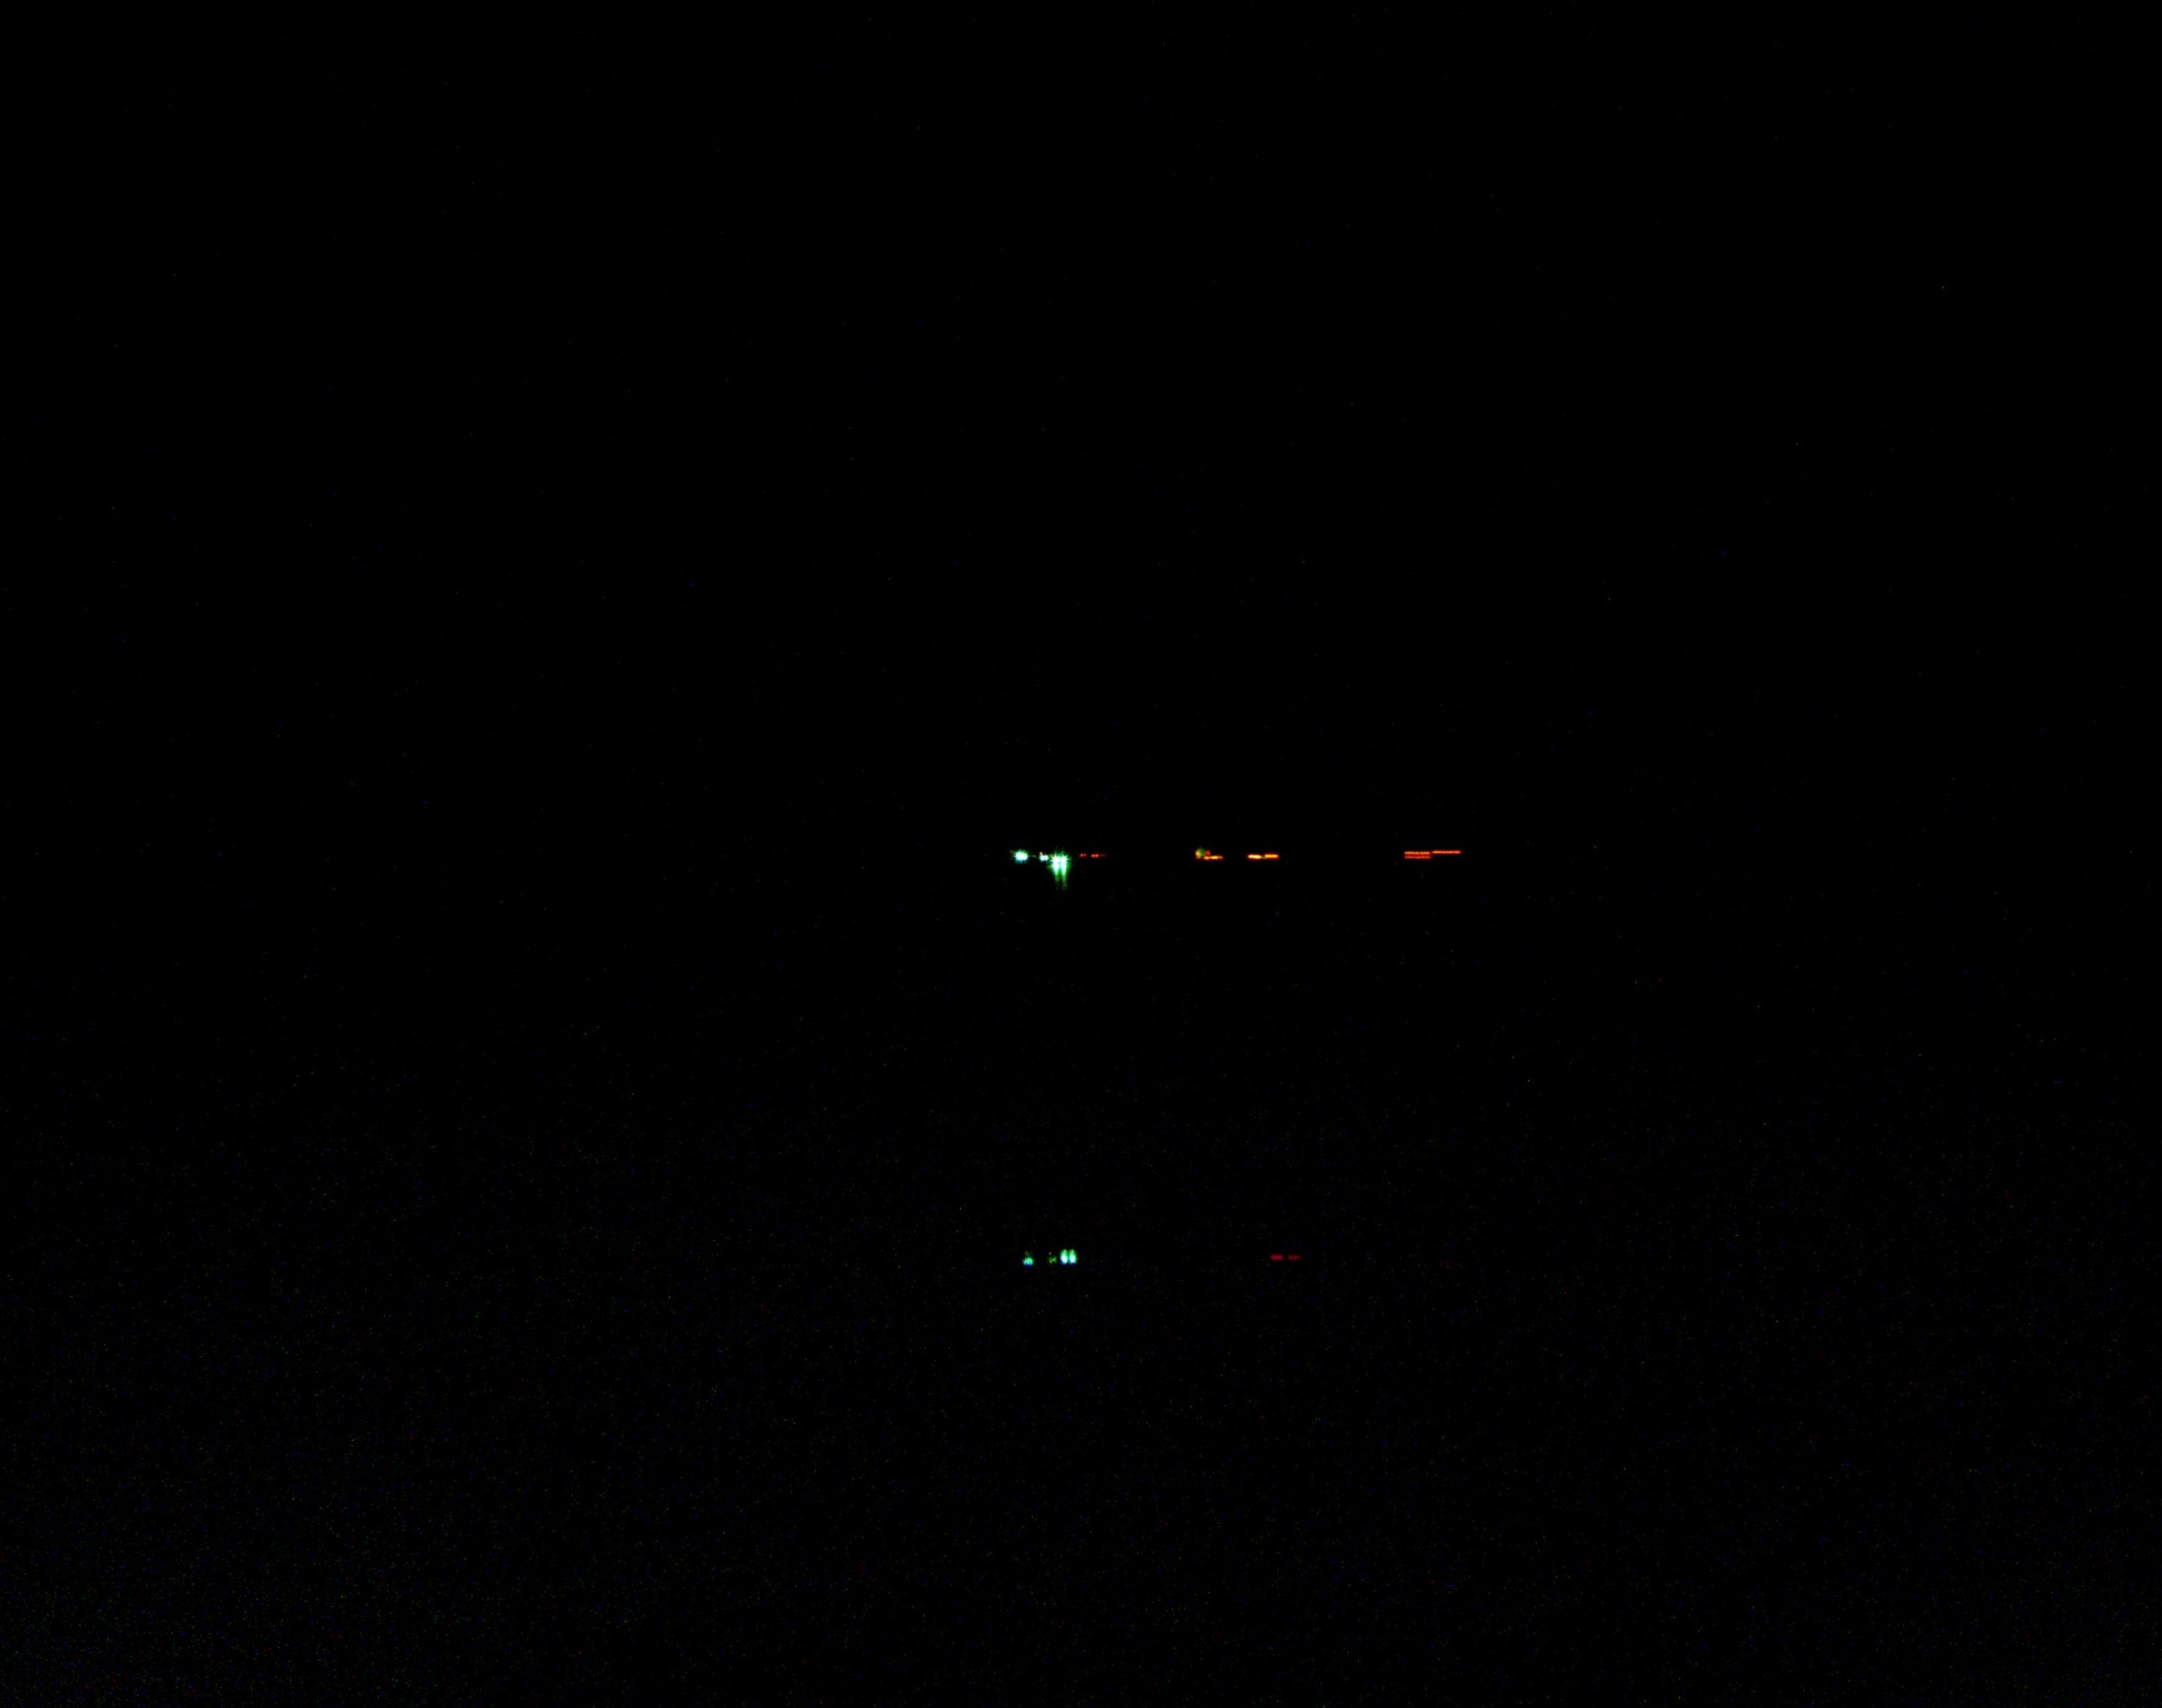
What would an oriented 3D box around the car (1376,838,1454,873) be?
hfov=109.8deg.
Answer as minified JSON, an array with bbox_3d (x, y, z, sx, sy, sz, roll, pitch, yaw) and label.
[{"bbox_3d":[19.039,0.064,43.661,1.998,1.811,5.686,-2,1,0],"label":"car"}]

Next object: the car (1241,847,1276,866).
[{"bbox_3d":[15.054,0.223,64.669,1.908,1.496,4.273,-2,1,-1],"label":"car"}]

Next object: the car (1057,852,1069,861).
[{"bbox_3d":[-3.370,0.474,140.272,2.154,1.558,4.580,-2,1,-2],"label":"car"}]

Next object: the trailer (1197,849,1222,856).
[{"bbox_3d":[20.871,-0.241,123.642,2.421,1.098,8.074,-2,1,-3],"label":"trailer"}]

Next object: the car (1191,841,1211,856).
[{"bbox_3d":[20.551,-0.977,130.776,2.088,2.473,6.240,-2,1,-3],"label":"car"}]
